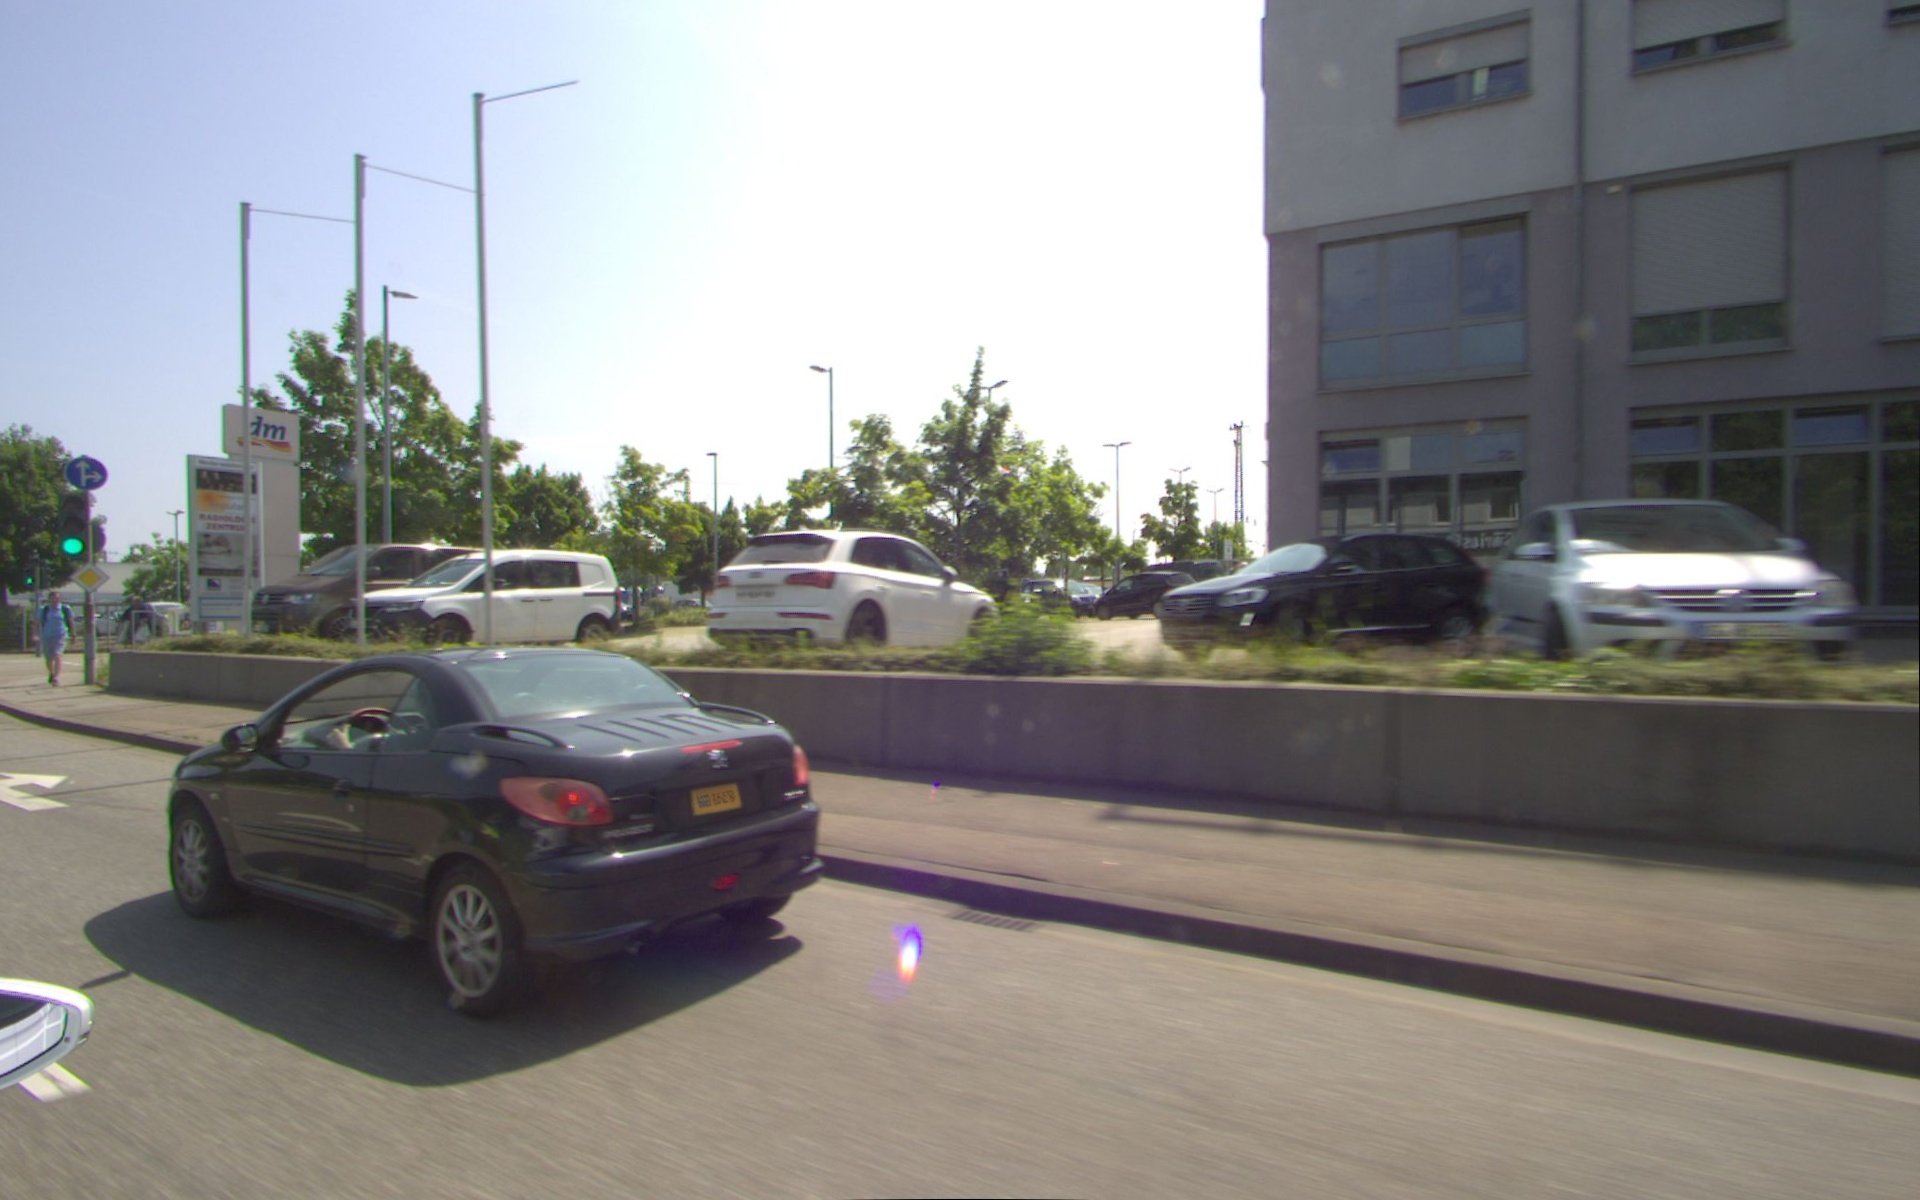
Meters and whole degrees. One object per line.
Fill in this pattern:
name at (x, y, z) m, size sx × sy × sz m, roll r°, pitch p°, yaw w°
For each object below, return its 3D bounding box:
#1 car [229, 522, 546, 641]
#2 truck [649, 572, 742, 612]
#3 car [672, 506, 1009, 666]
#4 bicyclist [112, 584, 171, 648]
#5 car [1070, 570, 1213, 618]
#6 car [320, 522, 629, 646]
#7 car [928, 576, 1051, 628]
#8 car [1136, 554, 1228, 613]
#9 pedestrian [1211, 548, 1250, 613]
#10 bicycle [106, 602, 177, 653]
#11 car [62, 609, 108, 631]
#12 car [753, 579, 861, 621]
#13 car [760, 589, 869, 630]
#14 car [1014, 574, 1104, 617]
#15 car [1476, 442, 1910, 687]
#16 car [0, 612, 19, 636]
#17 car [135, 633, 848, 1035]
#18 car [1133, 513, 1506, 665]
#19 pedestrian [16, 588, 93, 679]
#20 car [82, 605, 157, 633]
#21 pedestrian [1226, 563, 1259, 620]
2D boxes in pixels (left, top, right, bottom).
car at (-10.514, -0.205, 18.783) m, size 2.151 × 1.820 × 4.690 m, roll -1°, pitch -3°, yaw 31°
truck at (-26.981, -0.788, 102.084) m, size 9.879 × 3.889 × 2.847 m, roll -1°, pitch 1°, yaw 29°
car at (-1.265, -0.048, 12.657) m, size 2.065 × 1.630 × 4.461 m, roll -1°, pitch -2°, yaw 28°
bicyclist at (-19.338, 0.386, 23.646) m, size 1.075 × 1.483 × 0.773 m, roll -1°, pitch -2°, yaw 32°
car at (6.338, -0.182, 35.388) m, size 1.978 × 1.572 × 4.802 m, roll -1°, pitch 0°, yaw -41°
car at (-8.126, -0.133, 17.197) m, size 1.972 × 1.720 × 4.405 m, roll -2°, pitch -4°, yaw 32°
car at (1.020, 0.134, 36.975) m, size 1.978 × 1.733 × 4.709 m, roll 1°, pitch -2°, yaw -39°
car at (8.753, -0.609, 39.732) m, size 1.650 × 2.222 × 3.410 m, roll 1°, pitch 0°, yaw -31°
pedestrian at (7.974, -0.568, 29.516) m, size 0.846 × 1.863 × 0.783 m, roll -1°, pitch 1°, yaw -42°
bicycle at (-19.336, 0.662, 23.648) m, size 1.880 × 1.147 × 0.756 m, roll -1°, pitch -2°, yaw 32°
car at (-59.043, 1.370, 67.577) m, size 2.910 × 1.439 × 1.264 m, roll -1°, pitch 1°, yaw 26°
car at (-6.468, -0.031, 42.164) m, size 4.269 × 1.662 × 1.996 m, roll -1°, pitch 1°, yaw -17°
car at (-5.218, 0.293, 36.393) m, size 1.748 × 1.395 × 3.977 m, roll 1°, pitch 1°, yaw 33°
car at (4.383, -0.188, 44.961) m, size 1.652 × 1.812 × 4.162 m, roll 1°, pitch 0°, yaw -36°
car at (5.621, -0.138, 8.326) m, size 1.727 × 1.505 × 3.995 m, roll -1°, pitch -2°, yaw 18°
car at (-59.244, 1.485, 61.048) m, size 3.658 × 1.412 × 1.621 m, roll -1°, pitch 0°, yaw 27°
car at (-2.437, 0.868, 5.063) m, size 3.449 × 1.373 × 1.635 m, roll -1°, pitch -3°, yaw 32°
car at (4.559, -0.039, 12.608) m, size 4.455 × 1.628 × 1.907 m, roll 1°, pitch -2°, yaw -27°
pedestrian at (-16.922, 0.629, 18.717) m, size 0.991 × 1.646 × 0.827 m, roll -2°, pitch -2°, yaw 32°
car at (-46.194, 1.037, 55.022) m, size 4.017 × 1.412 × 1.733 m, roll -2°, pitch 0°, yaw 27°
pedestrian at (7.977, -0.234, 28.268) m, size 0.635 × 1.596 × 0.766 m, roll 0°, pitch 1°, yaw 43°
